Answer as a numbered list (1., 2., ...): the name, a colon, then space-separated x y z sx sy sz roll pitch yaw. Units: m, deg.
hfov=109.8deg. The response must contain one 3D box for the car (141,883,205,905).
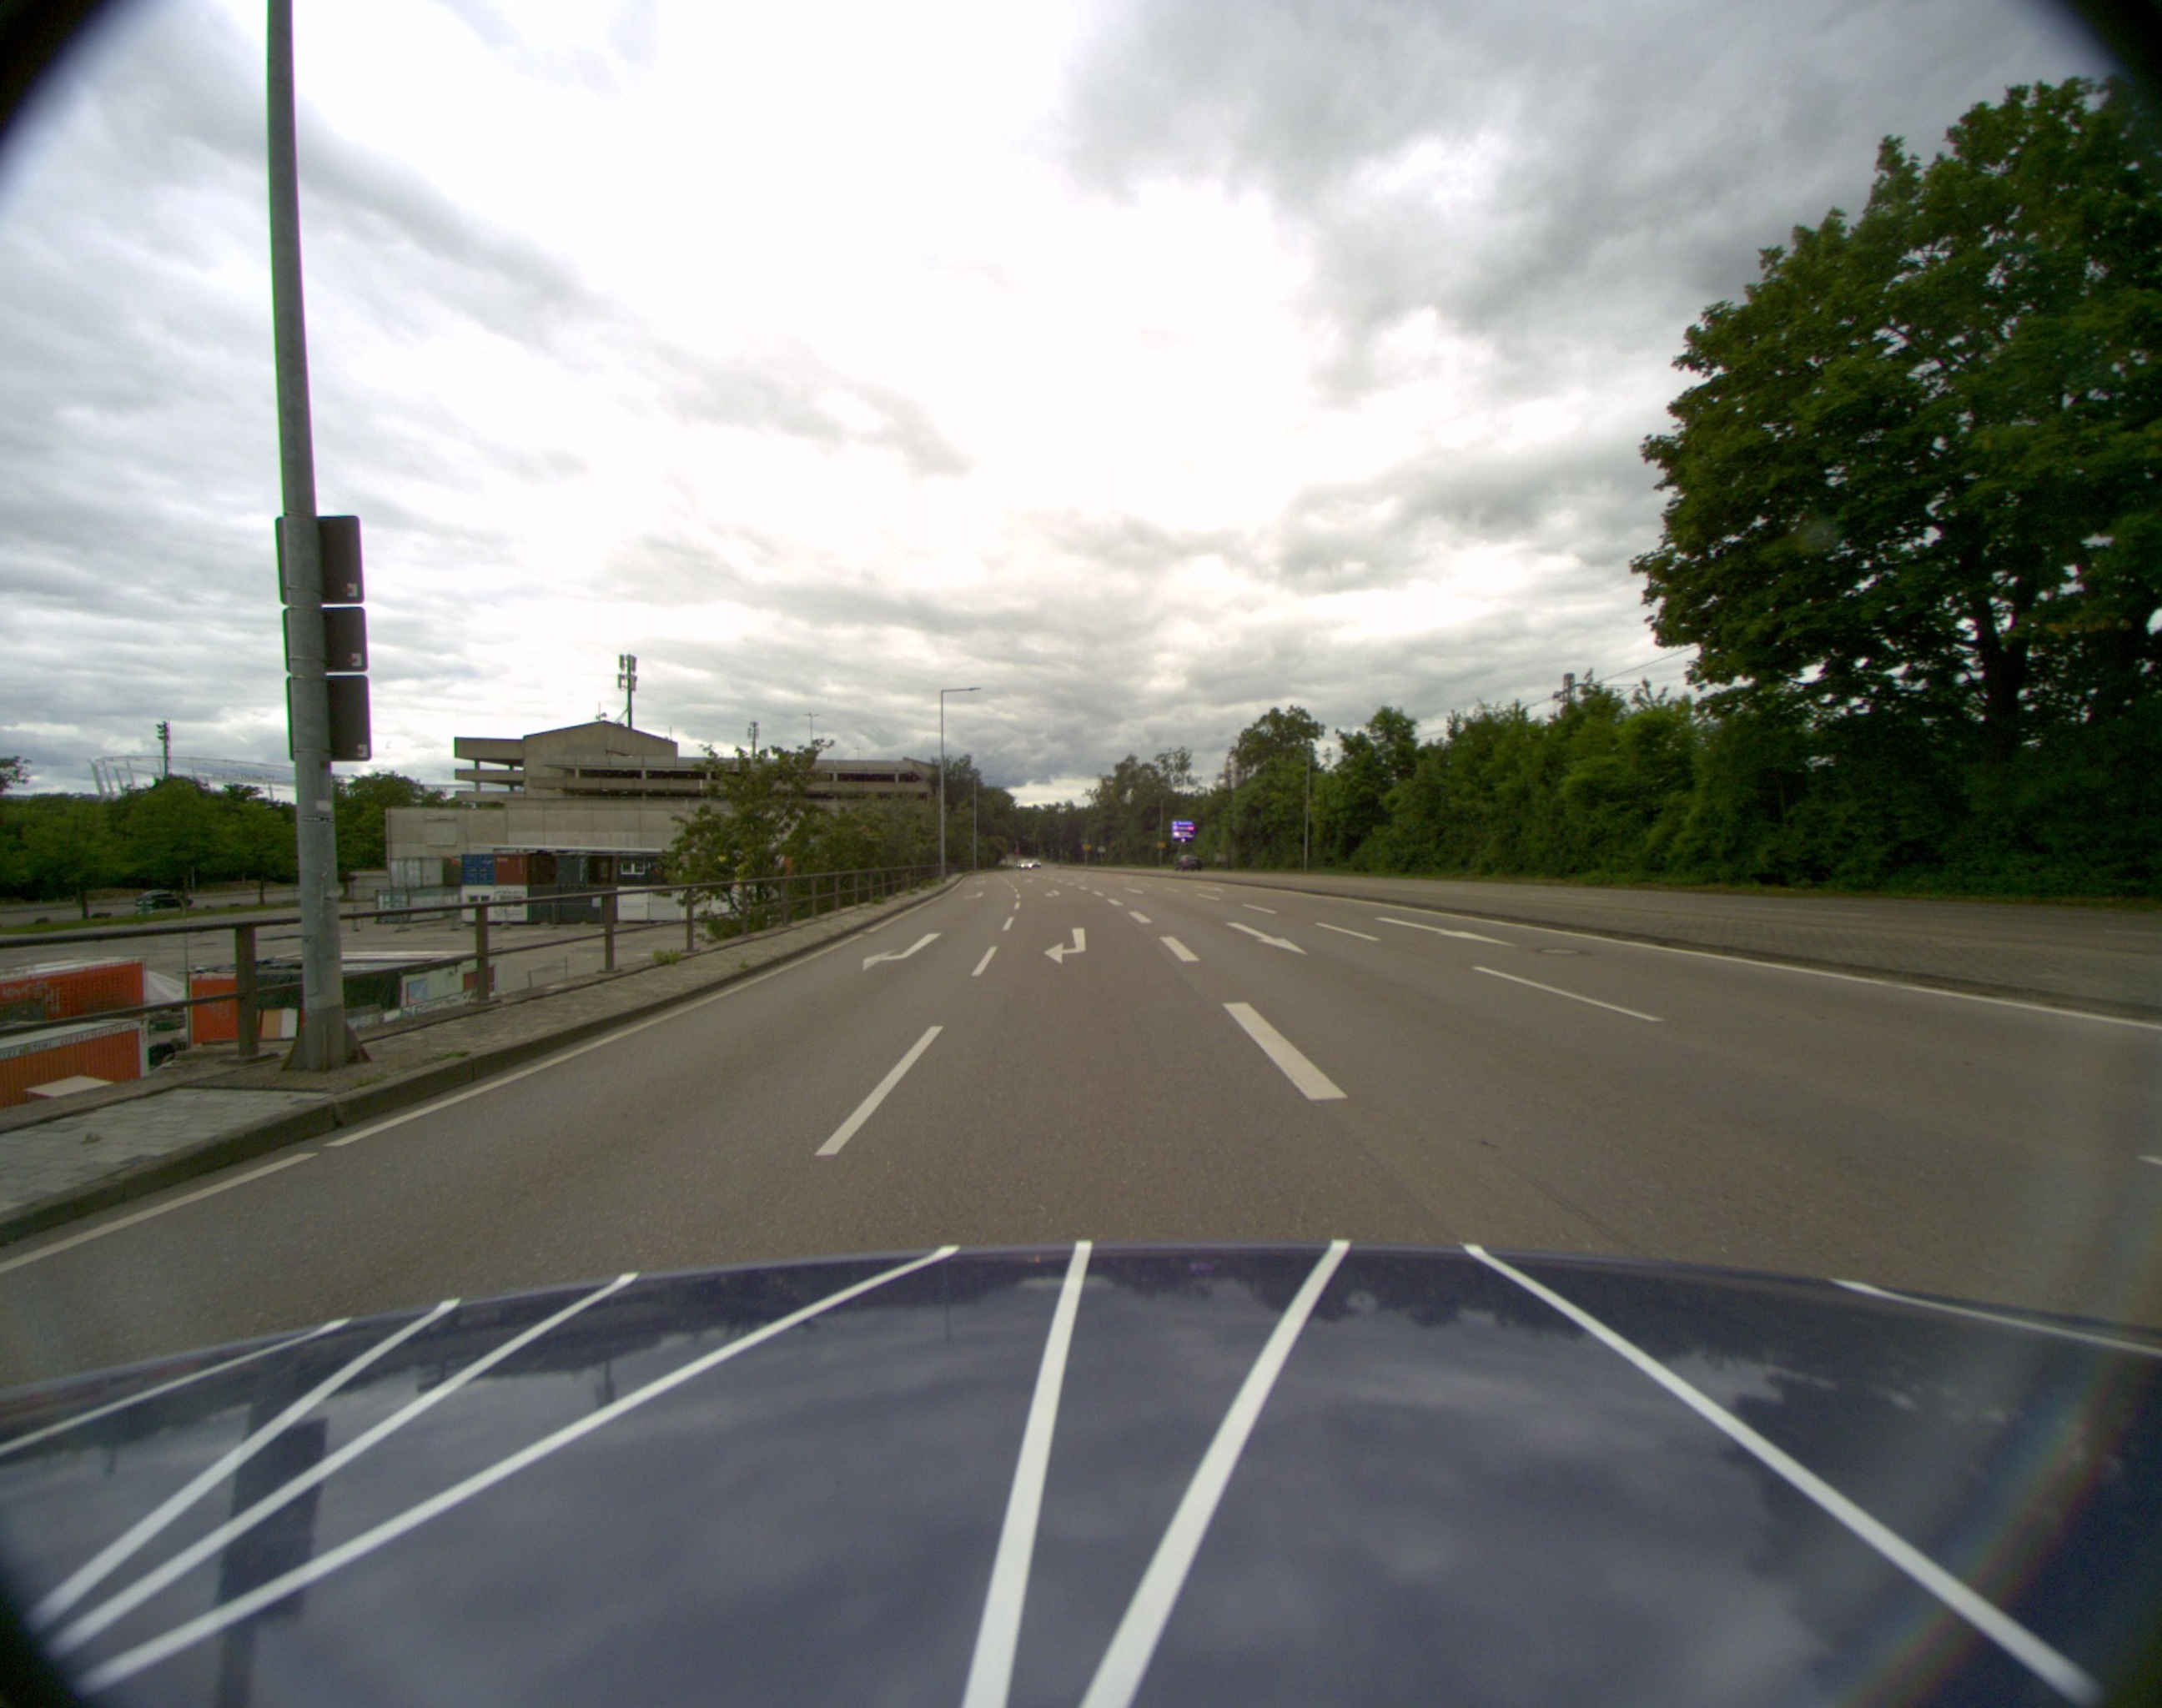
1. car: -94.867 4.155 79.460 1.999 1.805 3.997 -5 1 -7

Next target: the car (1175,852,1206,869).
1. car: 9.695 0.547 67.766 1.704 1.455 3.997 -2 1 -7

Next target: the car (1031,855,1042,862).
1. car: -8.560 0.887 146.734 1.843 1.408 4.577 -1 0 -7

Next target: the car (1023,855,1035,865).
1. car: -7.665 0.886 111.723 1.610 1.408 3.589 -1 0 -7

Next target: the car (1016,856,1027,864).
1. car: -11.387 1.119 145.951 1.866 1.408 4.335 -1 0 -7
